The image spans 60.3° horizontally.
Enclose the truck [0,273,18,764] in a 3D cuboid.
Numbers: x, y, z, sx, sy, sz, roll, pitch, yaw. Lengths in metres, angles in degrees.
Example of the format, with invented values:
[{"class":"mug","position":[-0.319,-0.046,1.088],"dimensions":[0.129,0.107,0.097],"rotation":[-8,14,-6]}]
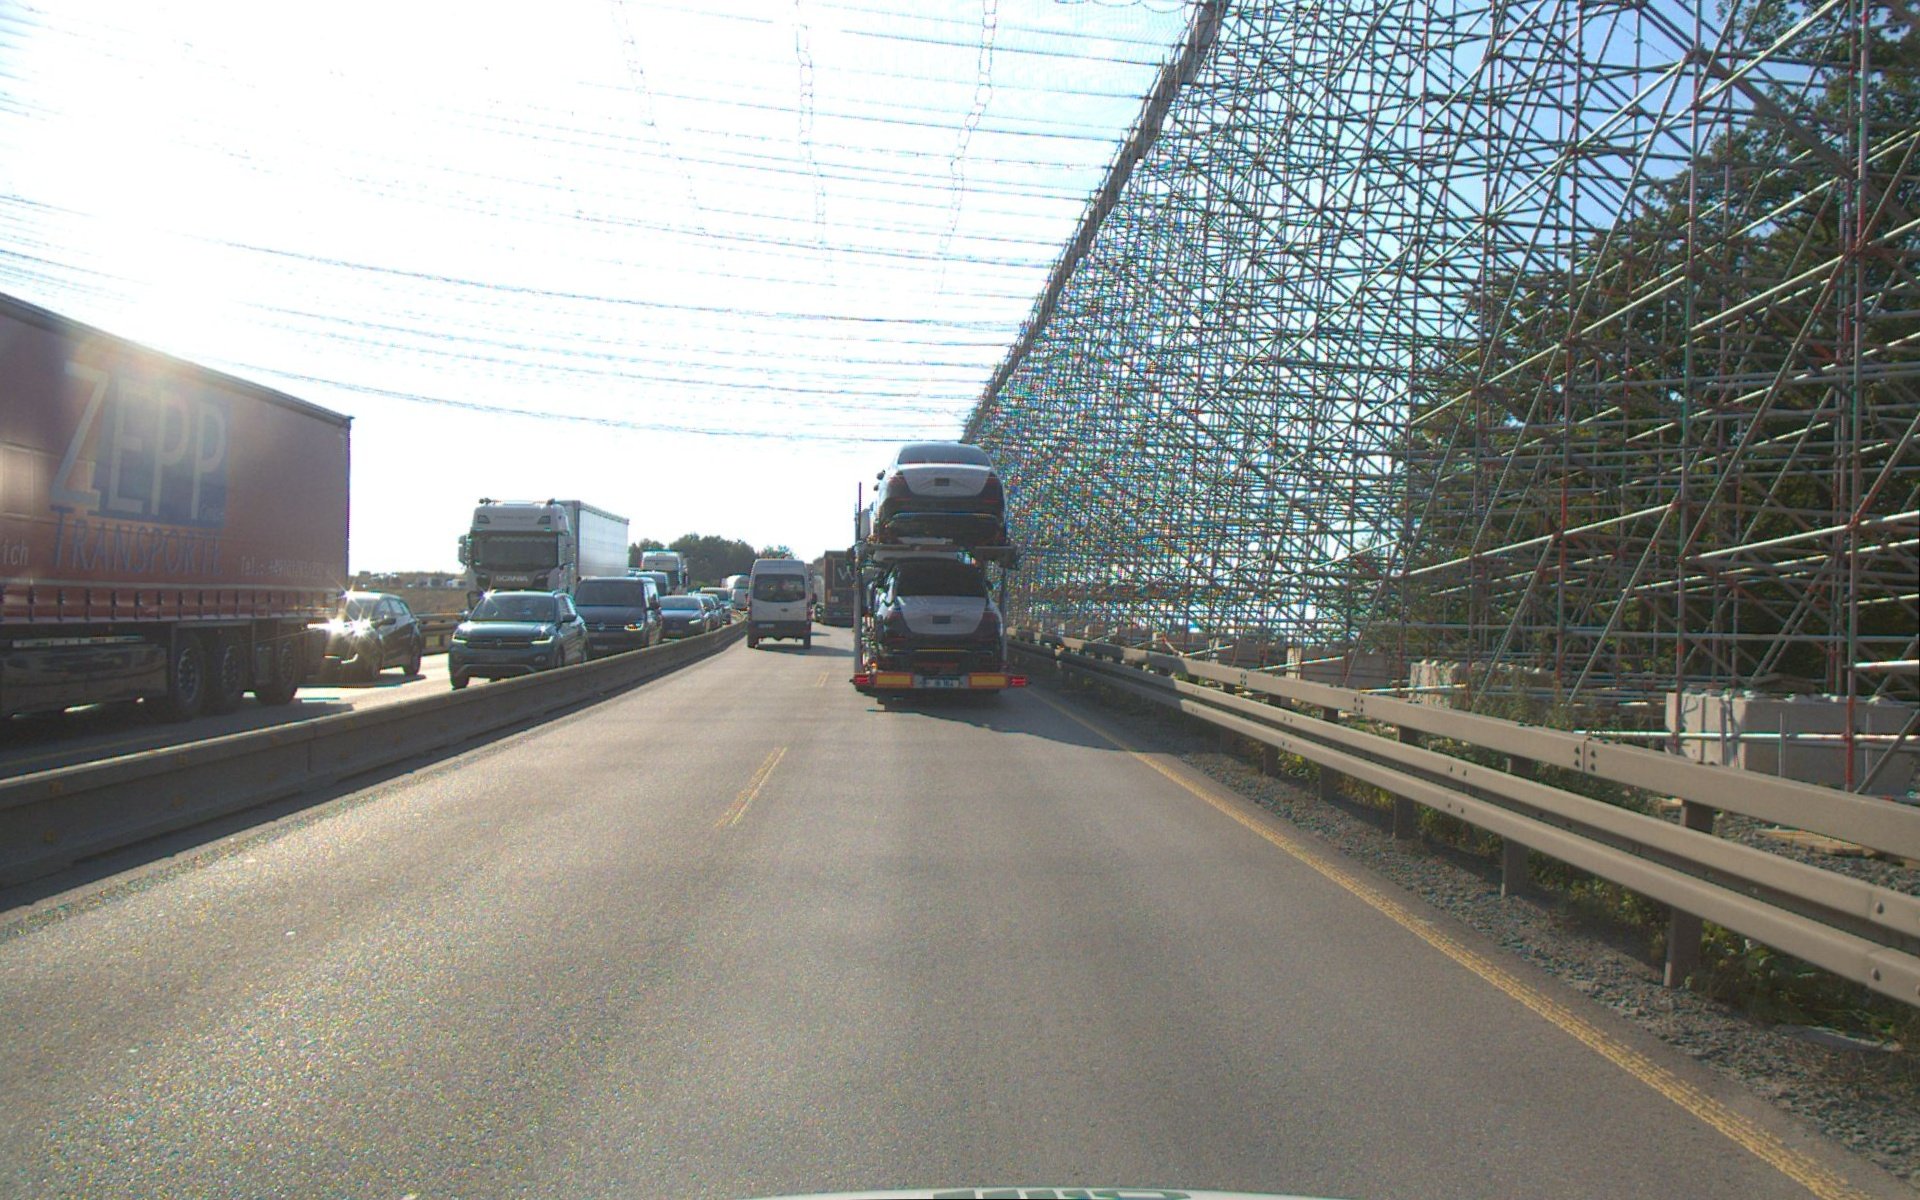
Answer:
[{"class":"truck","position":[-9.407,-0.732,11.035],"dimensions":[2.732,4.214,6.673],"rotation":[0,-1,-4]}]

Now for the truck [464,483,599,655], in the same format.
[{"class":"truck","position":[-11.443,-0.771,44.661],"dimensions":[2.611,4.304,6.096],"rotation":[0,0,-6]}]

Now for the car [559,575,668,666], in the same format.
[{"class":"car","position":[-8.128,0.455,39.160],"dimensions":[1.838,1.969,4.857],"rotation":[1,0,-4]}]

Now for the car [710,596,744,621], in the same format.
[{"class":"car","position":[-14.740,0.552,104.570],"dimensions":[1.804,1.479,3.988],"rotation":[2,0,-12]}]

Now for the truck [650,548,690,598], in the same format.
[{"class":"truck","position":[-21.980,-1.951,125.150],"dimensions":[2.549,3.534,12.356],"rotation":[2,0,-11]}]

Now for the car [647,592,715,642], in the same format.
[{"class":"car","position":[-9.143,0.532,54.430],"dimensions":[1.749,1.528,4.749],"rotation":[2,0,-5]}]

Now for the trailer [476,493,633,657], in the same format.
[{"class":"trailer","position":[-12.234,-0.680,51.279],"dimensions":[2.602,4.307,13.903],"rotation":[2,0,-6]}]

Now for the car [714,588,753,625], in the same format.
[{"class":"car","position":[-12.331,0.342,90.168],"dimensions":[1.801,1.926,3.996],"rotation":[2,0,-5]}]

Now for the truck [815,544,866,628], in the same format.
[{"class":"truck","position":[-6.974,-0.794,95.320],"dimensions":[2.679,4.462,11.508],"rotation":[1,0,-5]}]

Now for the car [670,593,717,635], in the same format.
[{"class":"car","position":[-10.567,0.549,65.793],"dimensions":[1.709,1.570,4.397],"rotation":[2,0,-8]}]

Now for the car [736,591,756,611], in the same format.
[{"class":"car","position":[-18.200,0.078,140.705],"dimensions":[1.678,1.646,3.497],"rotation":[0,-1,-7]}]

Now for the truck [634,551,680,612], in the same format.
[{"class":"truck","position":[-18.800,-1.109,103.001],"dimensions":[2.547,3.534,12.363],"rotation":[2,0,-10]}]

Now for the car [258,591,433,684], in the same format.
[{"class":"car","position":[-10.713,0.621,29.132],"dimensions":[1.687,1.473,4.136],"rotation":[1,0,-3]}]

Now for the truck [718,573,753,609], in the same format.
[{"class":"truck","position":[-24.906,-1.017,183.238],"dimensions":[2.572,3.788,9.622],"rotation":[2,0,-14]}]

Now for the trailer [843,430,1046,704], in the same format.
[{"class":"trailer","position":[-0.739,-0.391,30.505],"dimensions":[2.812,3.790,14.933],"rotation":[0,-1,-4]}]

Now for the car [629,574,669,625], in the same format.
[{"class":"car","position":[-16.723,-0.034,89.034],"dimensions":[1.958,2.586,3.990],"rotation":[2,0,-11]}]

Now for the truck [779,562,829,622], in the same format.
[{"class":"truck","position":[-12.383,-0.595,130.966],"dimensions":[3.616,4.294,13.651],"rotation":[-2,0,-6]}]

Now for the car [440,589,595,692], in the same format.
[{"class":"car","position":[-7.415,0.640,28.101],"dimensions":[1.708,1.561,4.264],"rotation":[1,0,-4]}]

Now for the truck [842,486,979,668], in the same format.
[{"class":"truck","position":[-1.280,-0.441,38.039],"dimensions":[2.825,3.767,7.319],"rotation":[0,-1,-4]}]

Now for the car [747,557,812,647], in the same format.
[{"class":"car","position":[-5.557,0.074,51.107],"dimensions":[1.919,2.667,3.994],"rotation":[0,-1,-6]}]

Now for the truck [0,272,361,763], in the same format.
[{"class":"truck","position":[-9.854,-0.687,17.660],"dimensions":[2.732,4.214,13.796],"rotation":[0,-1,-4]}]
